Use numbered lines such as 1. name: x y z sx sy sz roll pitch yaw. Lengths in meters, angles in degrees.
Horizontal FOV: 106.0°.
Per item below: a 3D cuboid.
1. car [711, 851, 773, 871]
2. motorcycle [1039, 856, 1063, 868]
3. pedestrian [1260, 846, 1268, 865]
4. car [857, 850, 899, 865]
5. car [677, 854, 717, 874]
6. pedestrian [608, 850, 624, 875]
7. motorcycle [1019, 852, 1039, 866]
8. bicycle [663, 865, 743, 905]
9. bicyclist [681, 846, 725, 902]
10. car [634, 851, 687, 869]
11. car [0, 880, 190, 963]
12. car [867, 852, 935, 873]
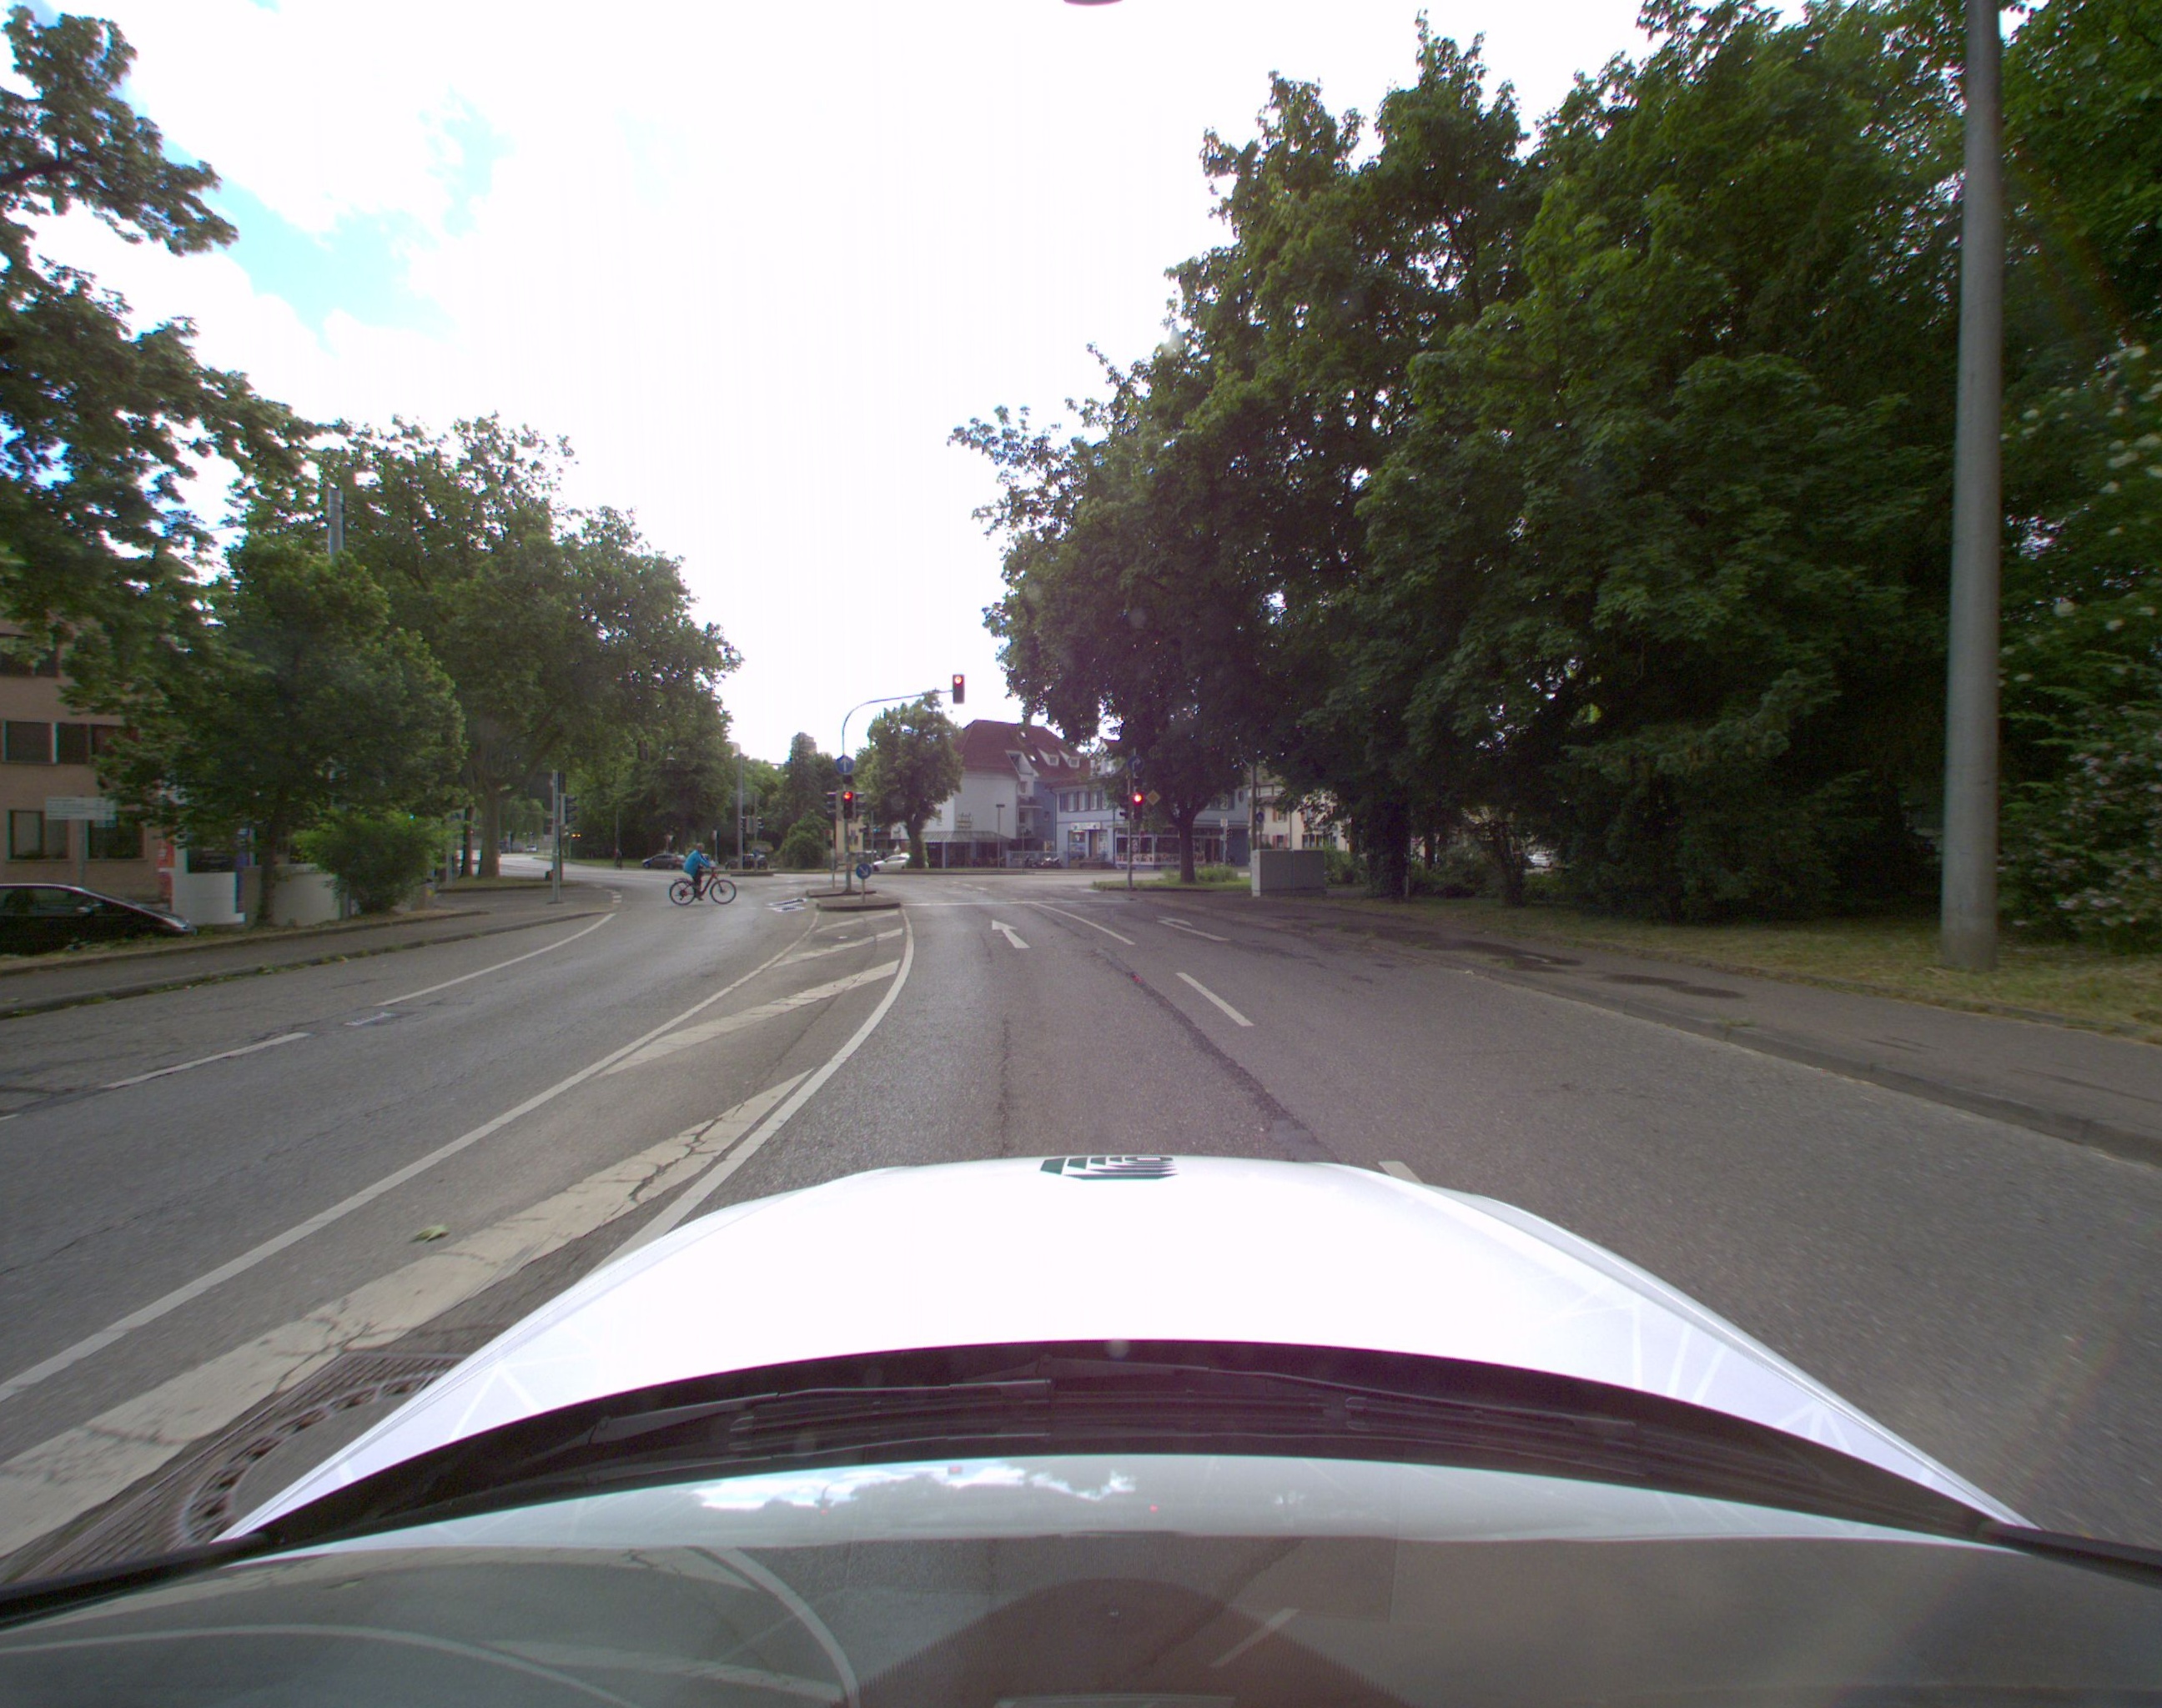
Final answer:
1. car: -28.006 0.548 67.319 4.538 1.517 2.011 -1 0 21
2. motorcycle: -2.433 0.659 66.589 1.820 0.848 0.564 -1 5 23
3. pedestrian: 15.211 0.147 67.701 0.407 1.552 0.494 -1 0 -42
4. car: -22.252 0.371 89.275 4.015 1.486 1.742 -2 0 -33
5. car: -36.853 0.947 78.284 1.988 1.772 3.998 -1 0 -1
6. pedestrian: -41.059 0.719 71.883 0.850 2.178 0.780 -1 0 24
7. motorcycle: -4.300 0.406 67.820 1.483 1.106 0.563 -2 5 19
8. bicycle: -11.032 0.878 23.845 2.079 1.082 0.934 0 0 -23
9. bicyclist: -11.046 0.562 23.831 1.103 1.599 0.934 0 0 -23
10. car: -38.648 0.540 74.845 3.958 1.574 2.008 -1 0 14
11. car: -19.701 1.274 15.437 1.715 1.373 3.713 -1 0 44
12. car: -13.603 0.639 61.574 4.538 1.517 2.011 -1 0 21
